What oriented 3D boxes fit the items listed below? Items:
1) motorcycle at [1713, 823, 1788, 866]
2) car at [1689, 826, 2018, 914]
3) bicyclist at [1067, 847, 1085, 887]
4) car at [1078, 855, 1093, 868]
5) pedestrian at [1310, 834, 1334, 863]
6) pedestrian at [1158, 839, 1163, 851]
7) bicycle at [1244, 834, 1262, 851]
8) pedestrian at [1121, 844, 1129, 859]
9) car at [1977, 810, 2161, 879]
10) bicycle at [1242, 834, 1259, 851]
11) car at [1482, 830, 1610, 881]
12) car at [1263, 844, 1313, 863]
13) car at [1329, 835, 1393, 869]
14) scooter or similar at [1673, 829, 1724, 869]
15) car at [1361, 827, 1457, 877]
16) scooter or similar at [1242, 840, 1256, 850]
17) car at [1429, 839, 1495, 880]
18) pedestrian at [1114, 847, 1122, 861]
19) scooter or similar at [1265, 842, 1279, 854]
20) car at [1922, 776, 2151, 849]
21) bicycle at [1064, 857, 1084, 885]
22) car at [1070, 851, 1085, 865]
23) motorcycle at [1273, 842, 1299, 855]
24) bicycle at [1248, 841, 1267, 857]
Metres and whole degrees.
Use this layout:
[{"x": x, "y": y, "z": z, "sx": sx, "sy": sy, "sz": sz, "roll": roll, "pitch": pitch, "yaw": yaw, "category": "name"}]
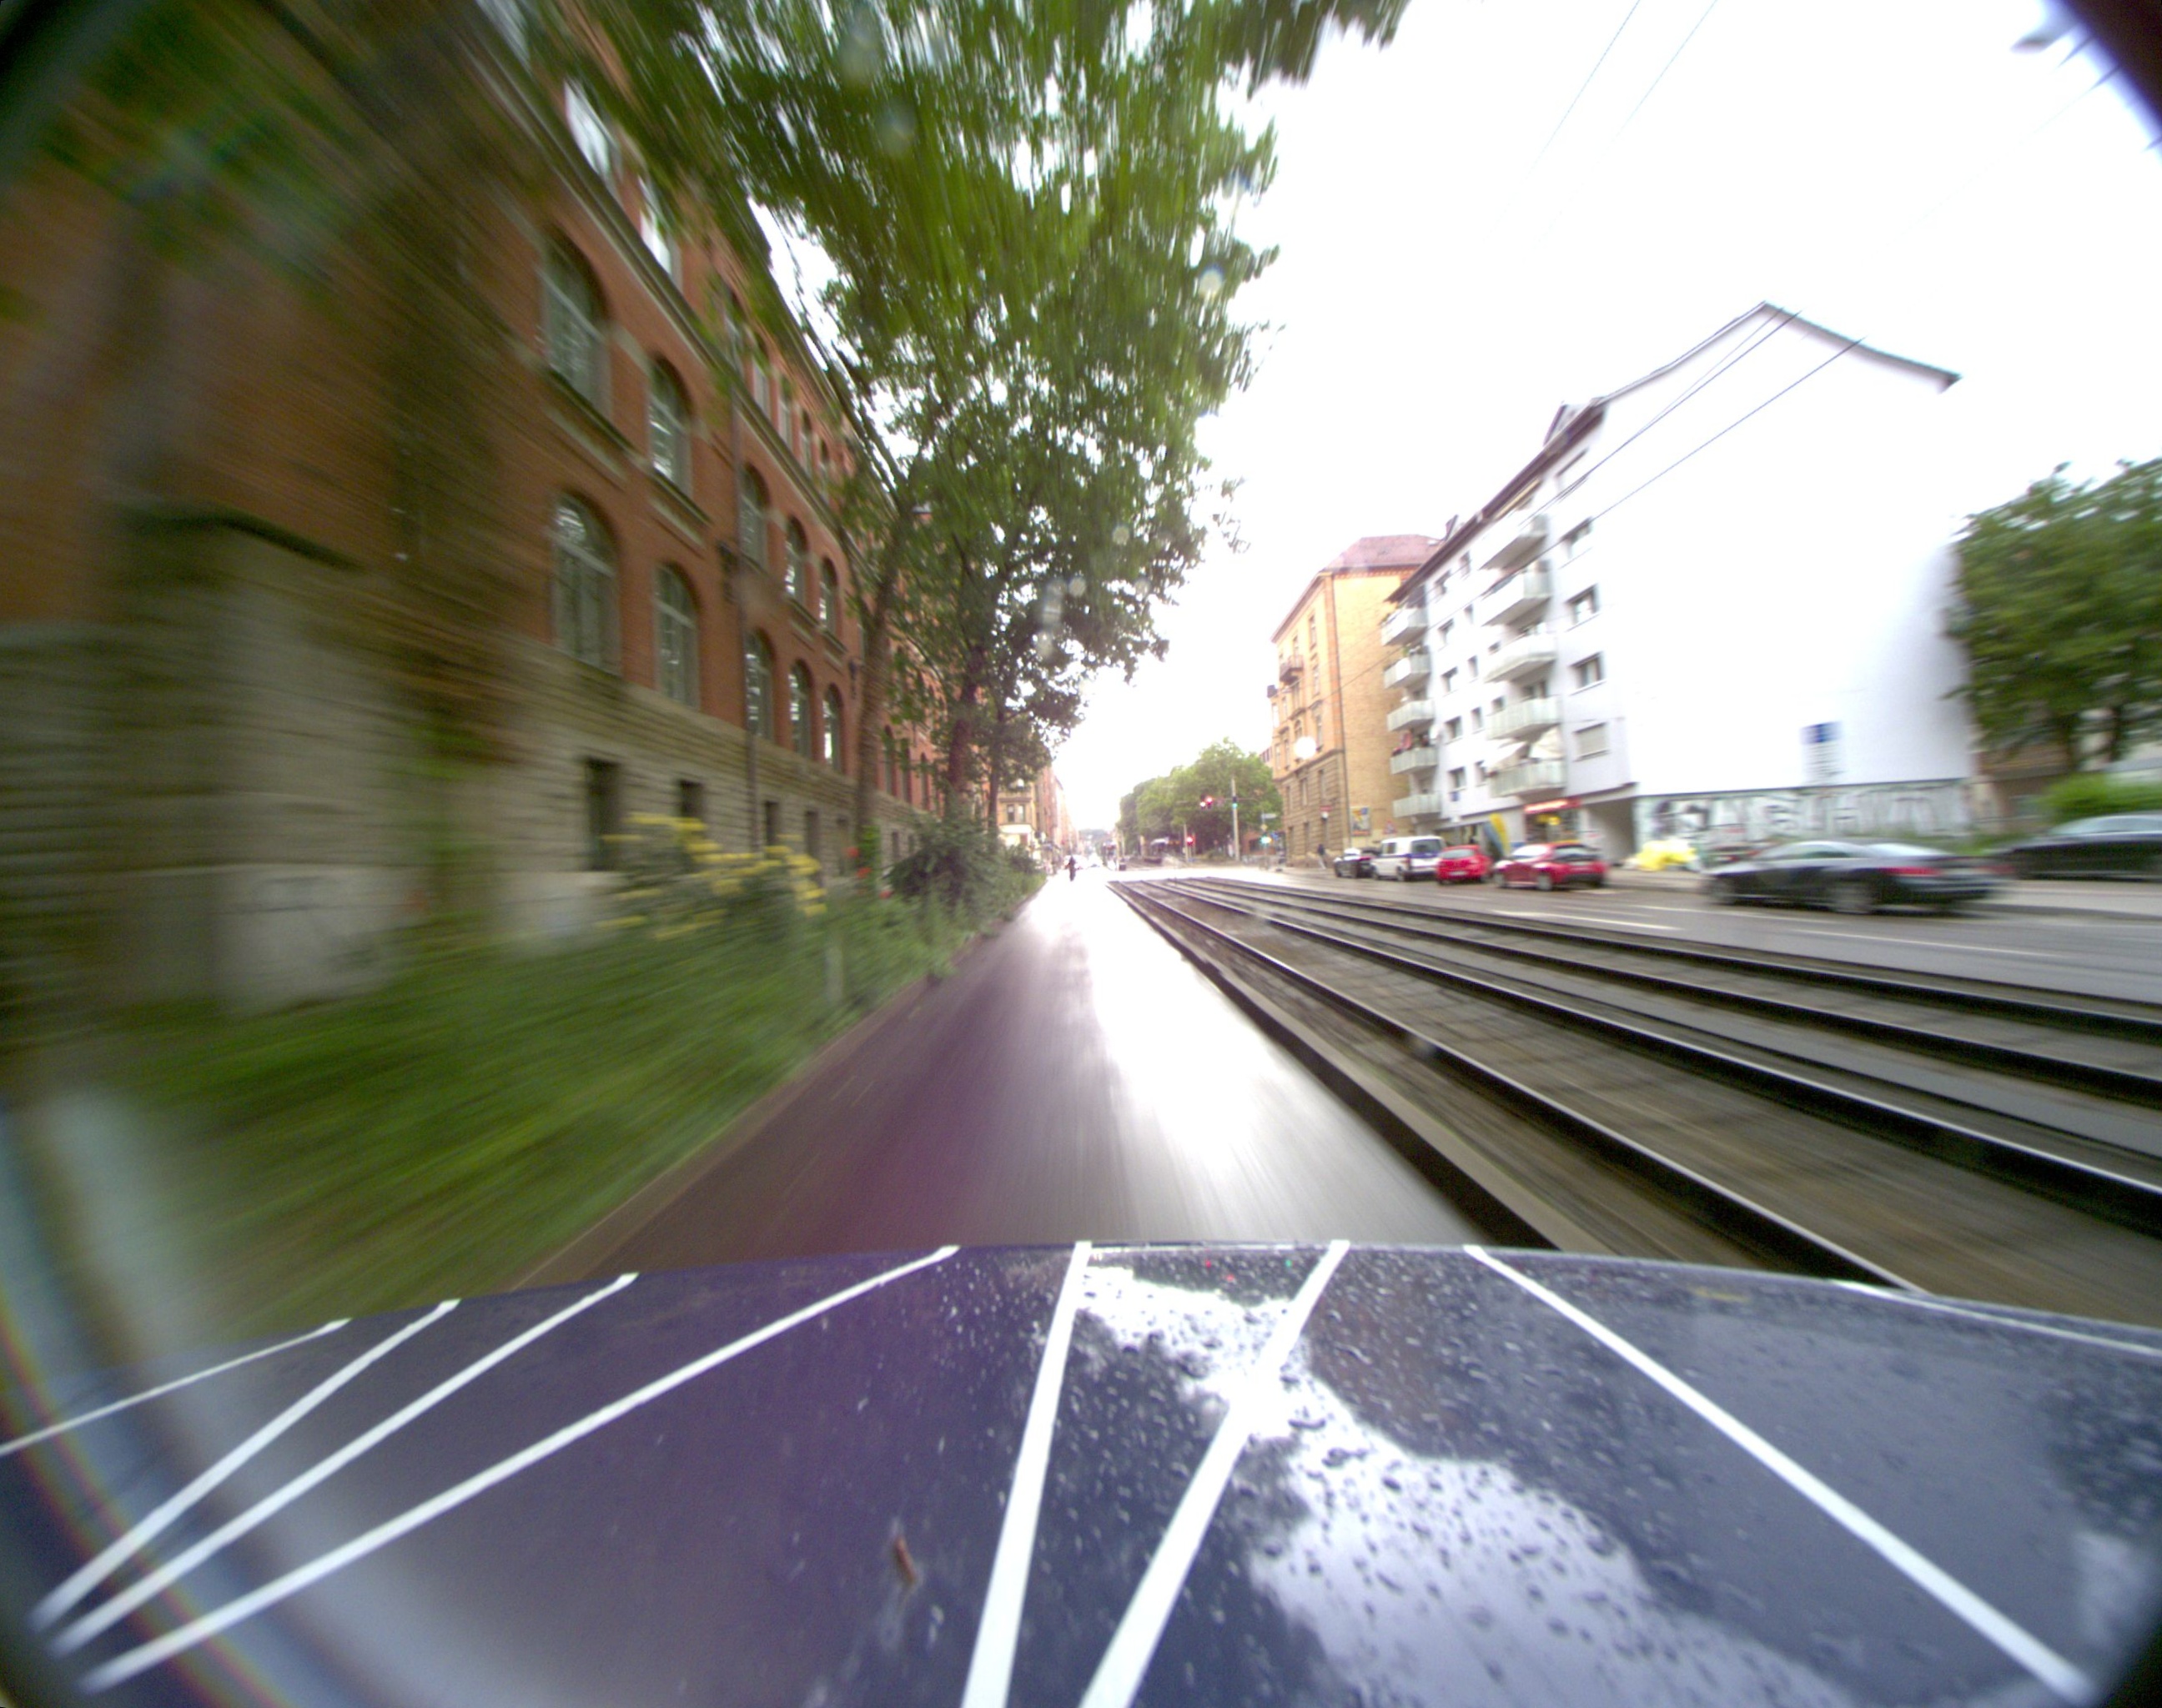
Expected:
[{"x": 20.398, "y": -0.310, "z": 23.196, "sx": 0.641, "sy": 1.194, "sz": 1.783, "roll": -6, "pitch": 2, "yaw": -1, "category": "motorcycle"}, {"x": 14.621, "y": 0.226, "z": 14.861, "sx": 1.684, "sy": 1.388, "sz": 4.621, "roll": -2, "pitch": 1, "yaw": -1, "category": "car"}, {"x": -0.307, "y": 0.757, "z": 44.659, "sx": 0.920, "sy": 2.250, "sz": 1.287, "roll": -2, "pitch": 1, "yaw": 2, "category": "bicyclist"}, {"x": 0.538, "y": 0.929, "z": 97.738, "sx": 1.884, "sy": 1.439, "sz": 3.999, "roll": -3, "pitch": 1, "yaw": 0, "category": "car"}, {"x": 16.185, "y": -0.361, "z": 51.007, "sx": 1.174, "sy": 1.918, "sz": 1.178, "roll": -3, "pitch": 1, "yaw": 2, "category": "pedestrian"}, {"x": 14.551, "y": -1.643, "z": 139.346, "sx": 0.837, "sy": 2.050, "sz": 0.884, "roll": -2, "pitch": 1, "yaw": -3, "category": "pedestrian"}, {"x": 20.873, "y": -1.418, "z": 92.132, "sx": 1.896, "sy": 2.002, "sz": 0.518, "roll": -3, "pitch": 2, "yaw": -6, "category": "bicycle"}, {"x": 5.224, "y": -0.313, "z": 90.574, "sx": 0.827, "sy": 1.788, "sz": 1.001, "roll": -2, "pitch": 1, "yaw": -1, "category": "pedestrian"}, {"x": 21.344, "y": -0.223, "z": 15.195, "sx": 1.874, "sy": 1.296, "sz": 4.480, "roll": -2, "pitch": 0, "yaw": 7, "category": "car"}, {"x": 20.752, "y": -1.429, "z": 93.123, "sx": 1.896, "sy": 2.002, "sz": 0.518, "roll": -3, "pitch": 2, "yaw": -6, "category": "bicycle"}, {"x": 14.849, "y": 0.018, "z": 24.521, "sx": 1.657, "sy": 1.443, "sz": 4.073, "roll": -2, "pitch": 1, "yaw": 1, "category": "car"}, {"x": 18.059, "y": -0.063, "z": 66.361, "sx": 3.800, "sy": 1.529, "sz": 1.775, "roll": -2, "pitch": 1, "yaw": -18, "category": "car"}, {"x": 14.944, "y": -0.122, "z": 40.803, "sx": 1.737, "sy": 1.641, "sz": 4.363, "roll": -3, "pitch": 1, "yaw": 0, "category": "car"}, {"x": 19.555, "y": -0.168, "z": 24.093, "sx": 0.623, "sy": 1.193, "sz": 1.897, "roll": -4, "pitch": 0, "yaw": 20, "category": "scooter or similar"}, {"x": 15.084, "y": -0.100, "z": 35.316, "sx": 2.075, "sy": 1.997, "sz": 5.301, "roll": -5, "pitch": 0, "yaw": 0, "category": "car"}, {"x": 20.900, "y": -1.072, "z": 94.527, "sx": 1.720, "sy": 1.187, "sz": 0.478, "roll": -2, "pitch": 1, "yaw": -20, "category": "scooter or similar"}, {"x": 15.370, "y": 0.182, "z": 30.568, "sx": 1.781, "sy": 1.426, "sz": 3.989, "roll": -2, "pitch": 1, "yaw": 35, "category": "car"}, {"x": 4.382, "y": -0.024, "z": 90.816, "sx": 0.837, "sy": 1.595, "sz": 1.001, "roll": -2, "pitch": 1, "yaw": -1, "category": "pedestrian"}, {"x": 22.166, "y": -0.724, "z": 88.090, "sx": 1.507, "sy": 1.363, "sz": 0.452, "roll": -3, "pitch": 1, "yaw": -16, "category": "scooter or similar"}, {"x": 27.664, "y": -1.124, "z": 22.247, "sx": 1.690, "sy": 1.811, "sz": 4.001, "roll": -1, "pitch": -1, "yaw": 1, "category": "car"}, {"x": -0.392, "y": 0.954, "z": 44.398, "sx": 0.936, "sy": 1.545, "sz": 3.135, "roll": -3, "pitch": 0, "yaw": 2, "category": "bicycle"}, {"x": -0.541, "y": 0.582, "z": 112.731, "sx": 1.825, "sy": 1.893, "sz": 5.990, "roll": -3, "pitch": 1, "yaw": 2, "category": "car"}, {"x": 23.270, "y": -0.626, "z": 86.290, "sx": 2.658, "sy": 1.363, "sz": 0.865, "roll": -2, "pitch": 2, "yaw": -6, "category": "motorcycle"}, {"x": 20.937, "y": -0.590, "z": 90.067, "sx": 2.096, "sy": 1.688, "sz": 0.556, "roll": -3, "pitch": 2, "yaw": -6, "category": "bicycle"}]
